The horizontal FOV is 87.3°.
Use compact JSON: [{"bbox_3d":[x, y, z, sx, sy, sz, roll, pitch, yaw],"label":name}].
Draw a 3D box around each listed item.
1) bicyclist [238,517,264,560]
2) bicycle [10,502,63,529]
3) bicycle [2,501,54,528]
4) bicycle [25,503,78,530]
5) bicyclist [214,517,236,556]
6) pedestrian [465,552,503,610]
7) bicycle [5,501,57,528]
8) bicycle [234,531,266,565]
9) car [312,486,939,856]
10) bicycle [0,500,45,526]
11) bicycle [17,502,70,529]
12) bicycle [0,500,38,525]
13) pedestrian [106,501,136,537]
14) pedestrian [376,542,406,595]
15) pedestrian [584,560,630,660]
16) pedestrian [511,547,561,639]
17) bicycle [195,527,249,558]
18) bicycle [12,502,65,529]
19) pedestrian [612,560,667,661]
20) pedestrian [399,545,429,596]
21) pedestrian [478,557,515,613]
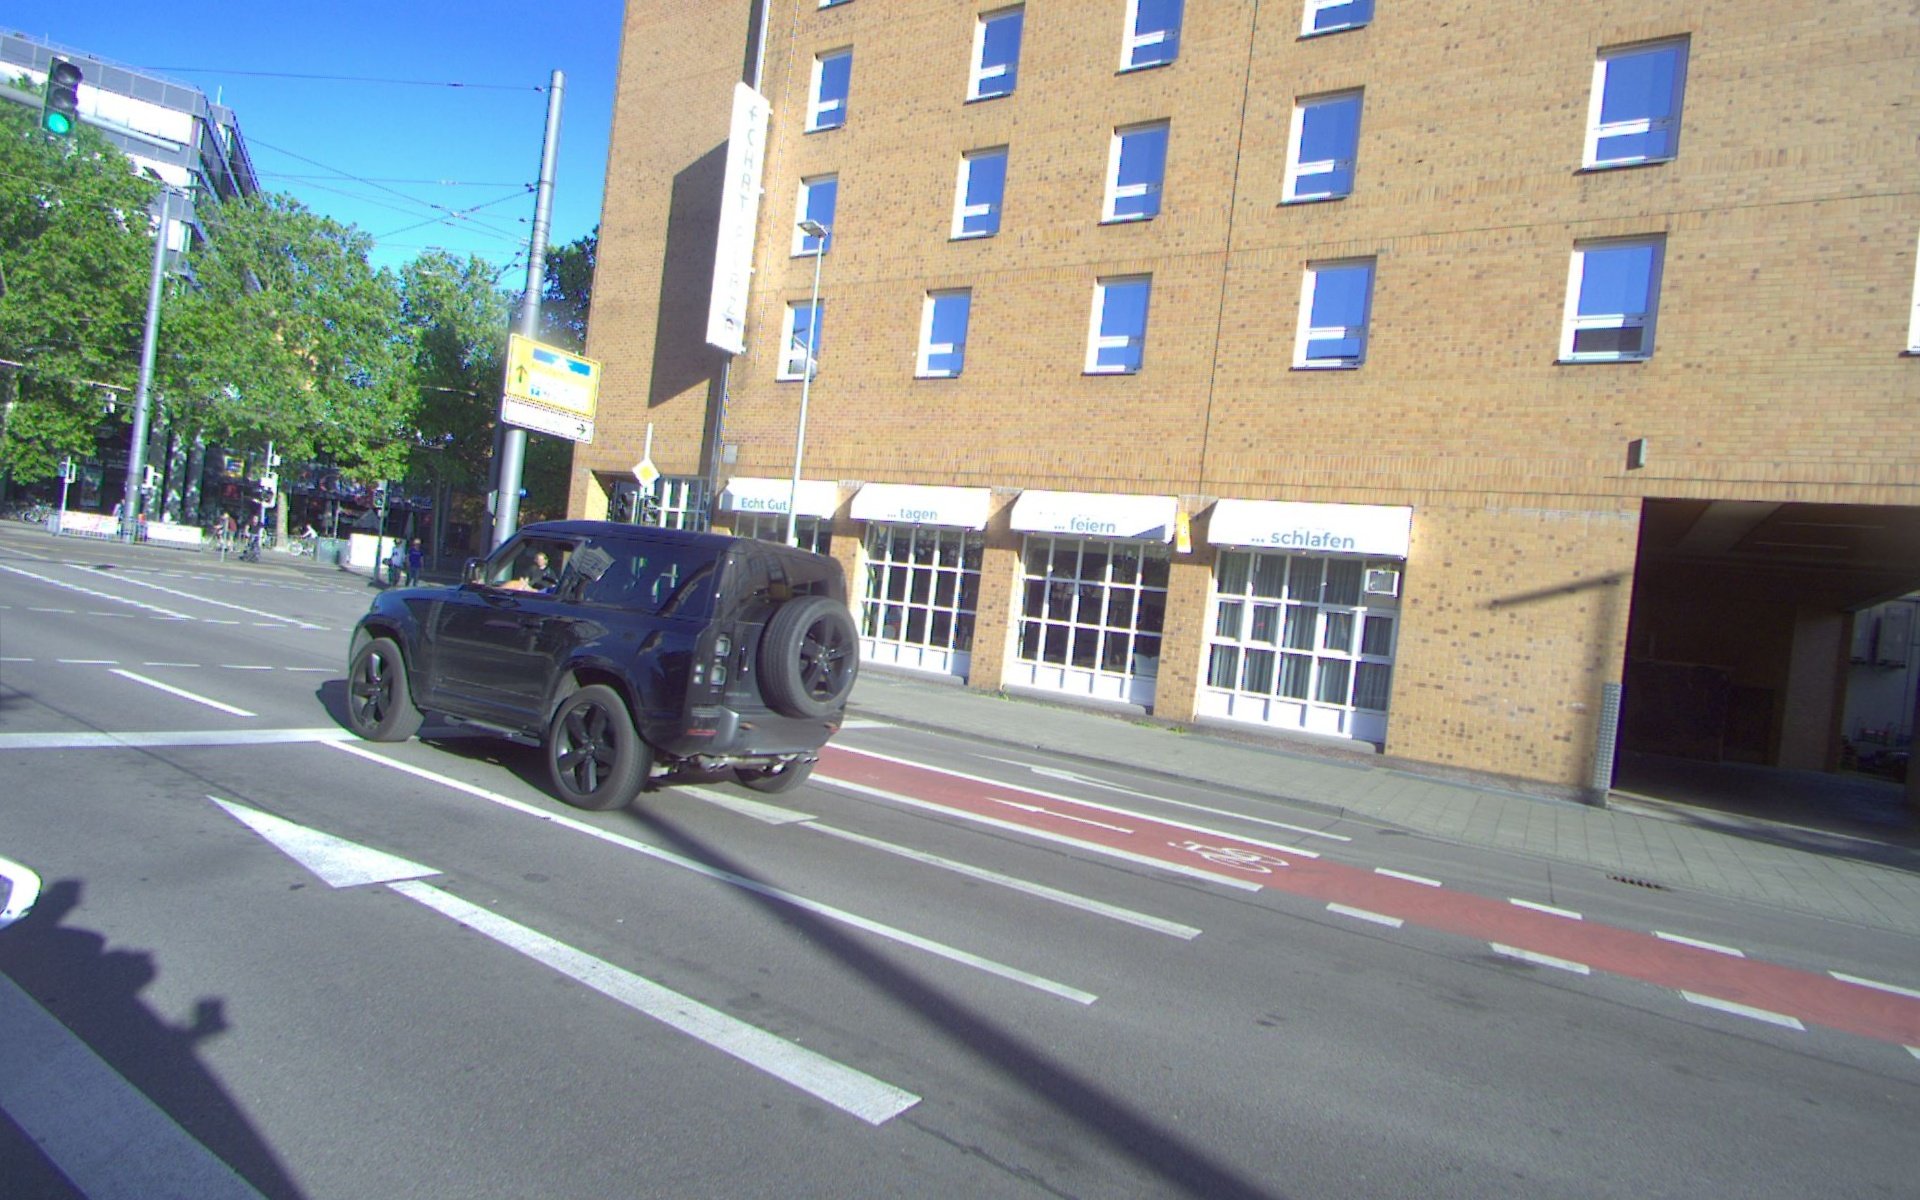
[{"bbox_3d":[-26.937,-2.349,38.226,0.563,1.536,0.626,8,-2,-43],"label":"bicyclist"},{"bbox_3d":[-47.765,-4.363,52.058,0.354,1.058,1.884,7,-2,31],"label":"bicycle"},{"bbox_3d":[-48.720,-4.476,52.591,0.354,1.058,1.885,7,-2,31],"label":"bicycle"},{"bbox_3d":[-45.984,-4.220,50.918,0.354,1.058,1.884,6,-2,31],"label":"bicycle"},{"bbox_3d":[-36.264,-3.124,49.657,0.396,1.859,0.585,6,-1,31],"label":"bicyclist"},{"bbox_3d":[-12.950,-0.517,27.363,0.591,1.470,0.593,6,0,32],"label":"pedestrian"},{"bbox_3d":[-48.318,-4.422,52.339,0.354,1.058,1.884,6,-2,31],"label":"bicycle"},{"bbox_3d":[-26.986,-1.982,38.216,0.564,1.192,2.302,8,-2,-43],"label":"bicycle"},{"bbox_3d":[-2.699,0.398,7.941,4.397,1.937,2.164,8,-1,31],"label":"car"},{"bbox_3d":[-49.238,-4.546,52.675,0.354,1.058,1.885,7,-2,31],"label":"bicycle"},{"bbox_3d":[-46.680,-4.283,51.248,0.354,1.058,1.884,6,-2,31],"label":"bicycle"},{"bbox_3d":[-50.195,-4.653,53.270,0.354,1.058,1.885,7,-2,31],"label":"bicycle"},{"bbox_3d":[-43.525,-4.189,52.209,0.747,1.724,0.834,6,-1,32],"label":"pedestrian"},{"bbox_3d":[-17.441,-0.967,30.825,0.563,1.550,0.695,8,-2,-37],"label":"pedestrian"},{"bbox_3d":[-6.701,0.181,19.078,0.587,1.802,0.677,6,1,-26],"label":"pedestrian"},{"bbox_3d":[-8.841,-0.149,20.991,0.726,1.813,0.510,7,-1,-19],"label":"pedestrian"},{"bbox_3d":[-36.350,-2.824,49.576,0.414,1.228,2.046,6,-2,32],"label":"bicycle"},{"bbox_3d":[-47.343,-4.336,51.697,0.354,1.058,1.884,6,-2,31],"label":"bicycle"},{"bbox_3d":[-5.961,0.199,18.743,0.583,1.802,0.682,6,0,6],"label":"pedestrian"},{"bbox_3d":[-17.004,-0.911,31.307,0.563,1.496,0.695,8,-2,-37],"label":"pedestrian"},{"bbox_3d":[-12.940,-0.421,28.087,0.543,1.495,0.593,6,0,32],"label":"pedestrian"}]
